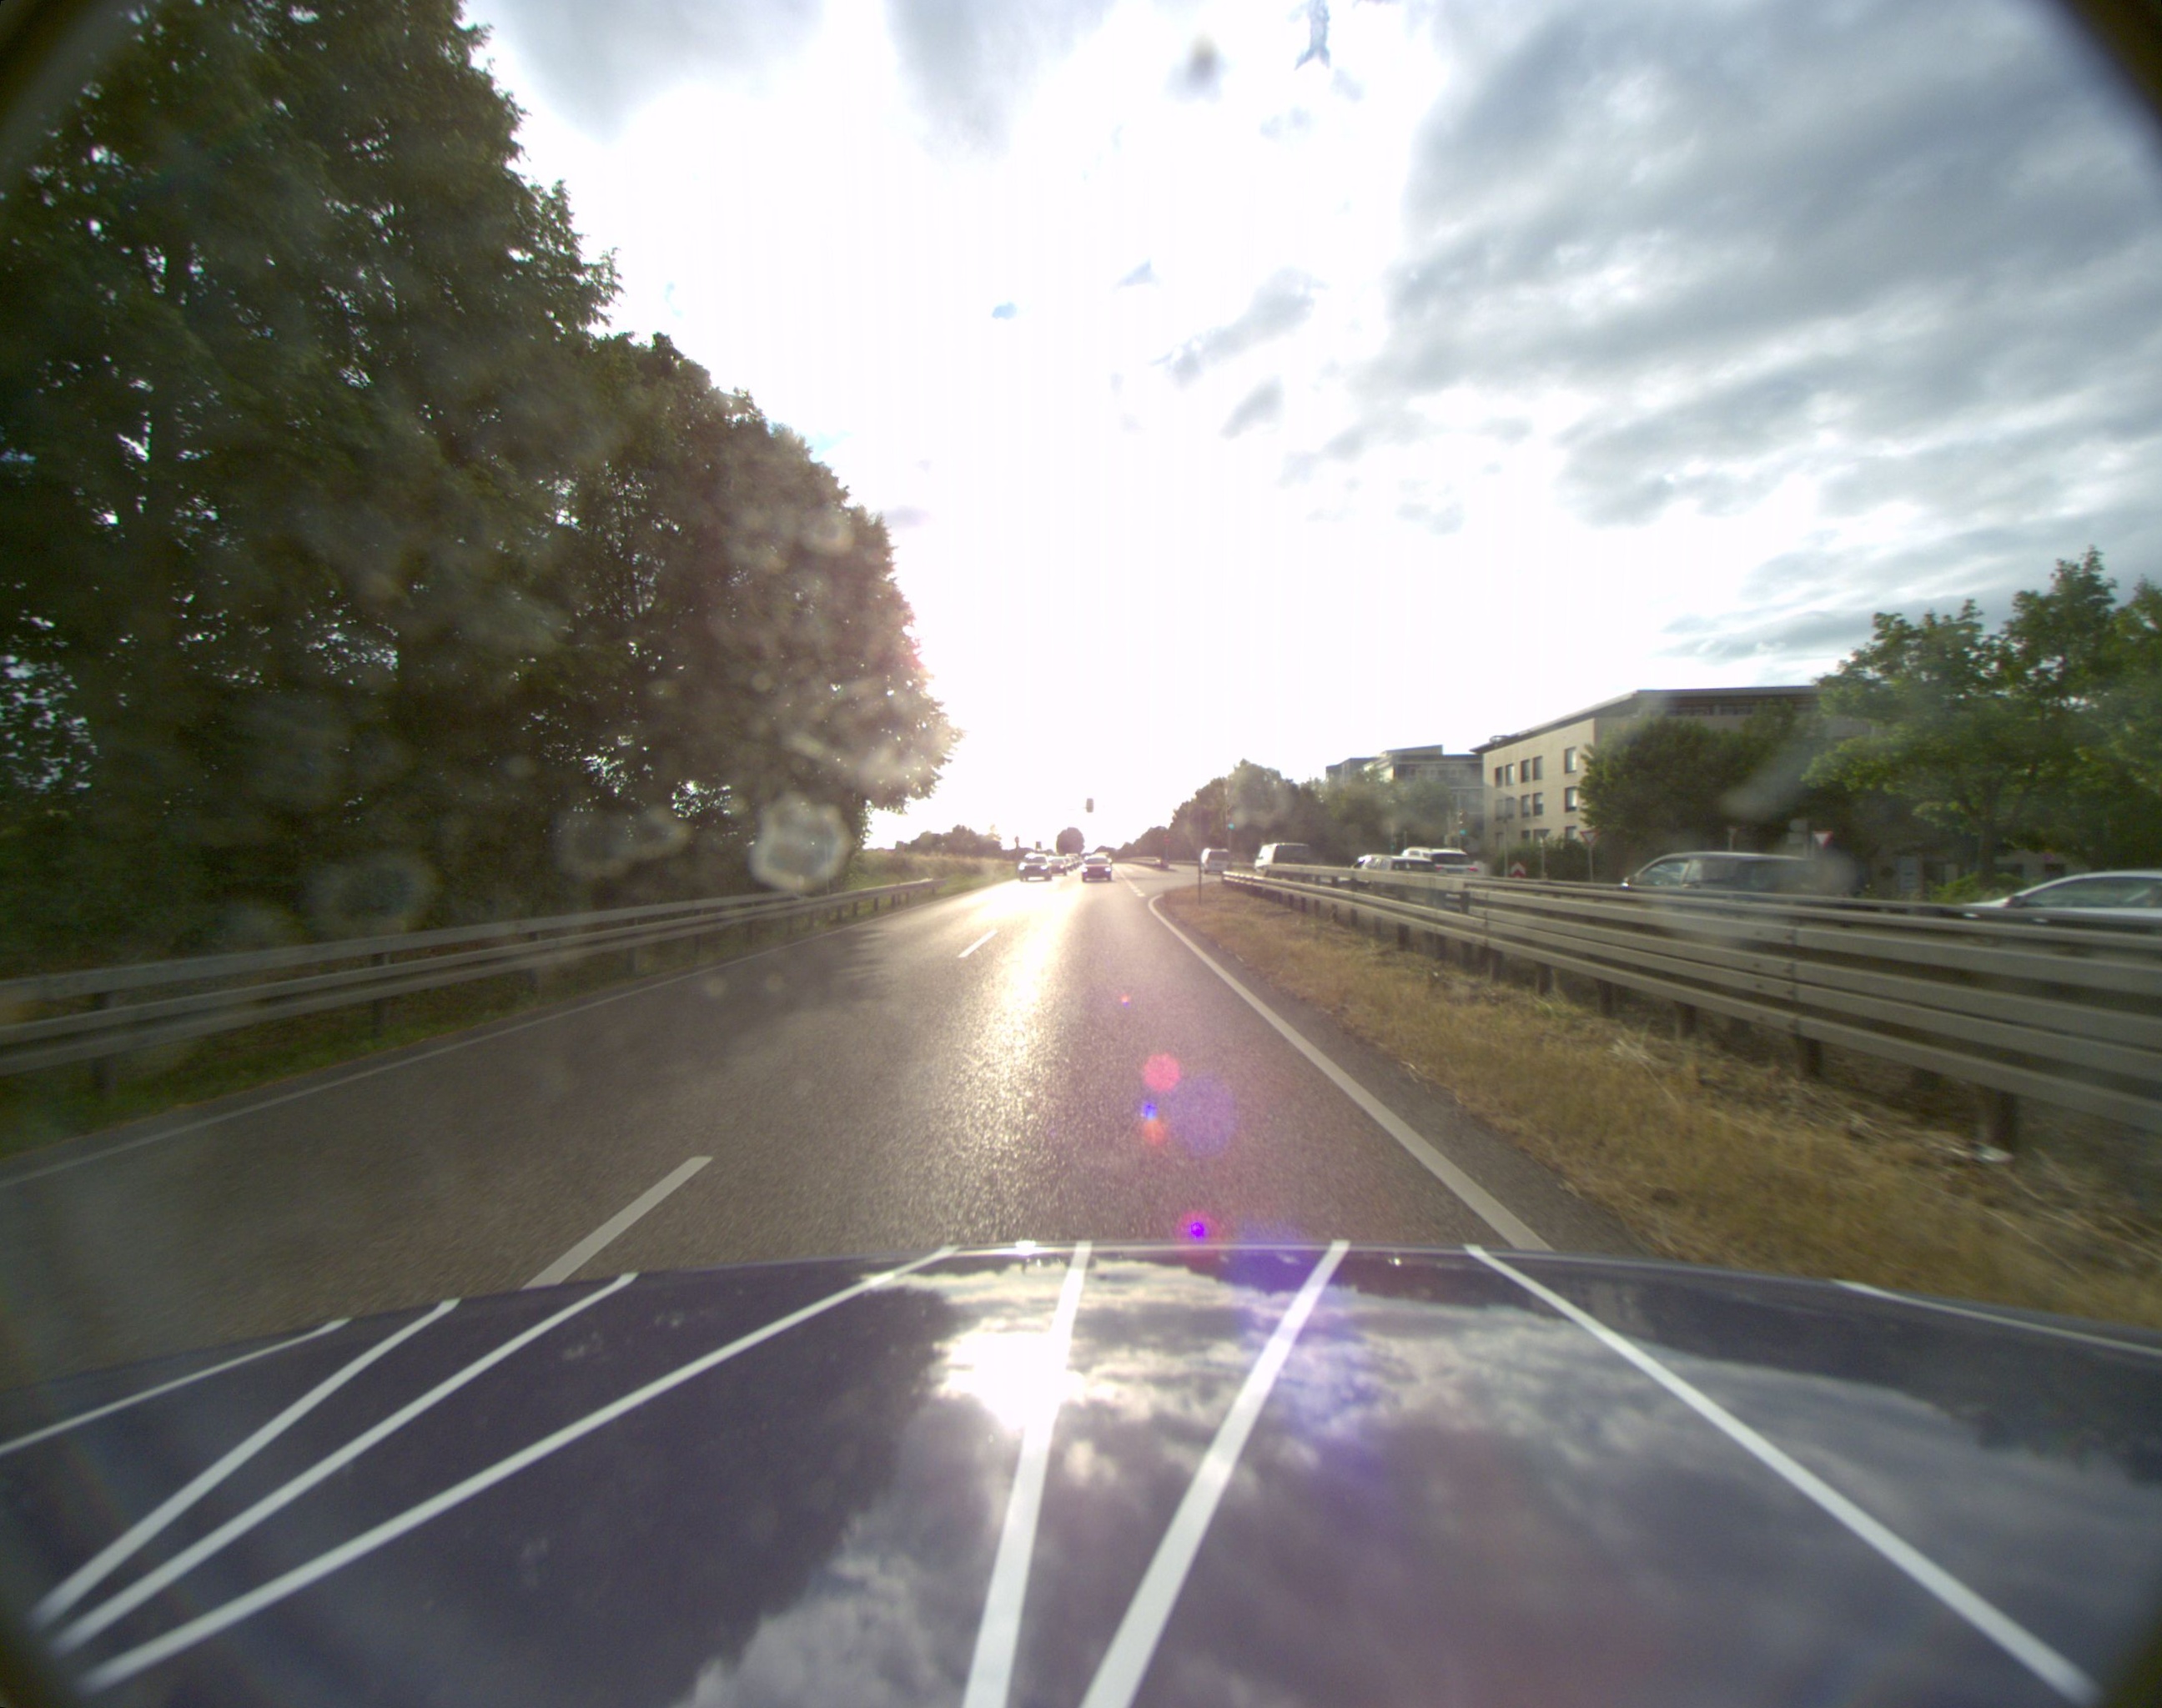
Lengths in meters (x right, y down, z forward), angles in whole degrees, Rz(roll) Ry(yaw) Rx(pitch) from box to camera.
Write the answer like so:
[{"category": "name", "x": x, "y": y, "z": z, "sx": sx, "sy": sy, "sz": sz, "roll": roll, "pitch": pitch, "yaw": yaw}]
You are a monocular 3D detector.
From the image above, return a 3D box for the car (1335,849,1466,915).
[{"category": "car", "x": 8.567, "y": 0.664, "z": 20.845, "sx": 1.717, "sy": 1.580, "sz": 4.554, "roll": -1, "pitch": 0, "yaw": 1}]

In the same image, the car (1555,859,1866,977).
[{"category": "car", "x": 8.623, "y": 0.782, "z": 10.836, "sx": 1.560, "sy": 1.352, "sz": 3.463, "roll": -2, "pitch": 0, "yaw": 1}]

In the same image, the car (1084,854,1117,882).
[{"category": "car", "x": 1.150, "y": 0.769, "z": 43.088, "sx": 1.723, "sy": 1.467, "sz": 3.729, "roll": 1, "pitch": 0, "yaw": 3}]

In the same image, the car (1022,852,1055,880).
[{"category": "car", "x": -2.744, "y": 0.742, "z": 49.551, "sx": 1.723, "sy": 1.658, "sz": 4.419, "roll": -2, "pitch": 0, "yaw": 1}]

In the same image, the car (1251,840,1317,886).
[{"category": "car", "x": 9.458, "y": 0.376, "z": 35.824, "sx": 1.903, "sy": 1.906, "sz": 5.051, "roll": 3, "pitch": 1, "yaw": 2}]

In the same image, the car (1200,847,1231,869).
[{"category": "car", "x": 12.257, "y": 0.326, "z": 69.485, "sx": 1.939, "sy": 1.978, "sz": 5.091, "roll": 0, "pitch": 1, "yaw": 1}]

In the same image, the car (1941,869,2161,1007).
[{"category": "car", "x": 11.744, "y": 0.886, "z": 8.066, "sx": 1.433, "sy": 1.345, "sz": 3.309, "roll": 0, "pitch": 1, "yaw": -1}]

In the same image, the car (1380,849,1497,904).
[{"category": "car", "x": 12.738, "y": 0.730, "z": 27.457, "sx": 2.039, "sy": 1.739, "sz": 4.845, "roll": 1, "pitch": 0, "yaw": 2}]

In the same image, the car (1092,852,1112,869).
[{"category": "car", "x": 1.932, "y": 0.576, "z": 70.136, "sx": 1.758, "sy": 1.543, "sz": 4.000, "roll": -1, "pitch": 0, "yaw": 1}]

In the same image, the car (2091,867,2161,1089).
[{"category": "car", "x": 8.037, "y": 0.826, "z": 3.543, "sx": 1.722, "sy": 1.458, "sz": 3.734, "roll": -1, "pitch": 0, "yaw": 1}]

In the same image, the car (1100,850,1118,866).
[{"category": "car", "x": 2.972, "y": 0.389, "z": 80.599, "sx": 1.786, "sy": 1.624, "sz": 3.866, "roll": -1, "pitch": 0, "yaw": 3}]

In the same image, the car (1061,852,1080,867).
[{"category": "car", "x": -1.043, "y": 0.573, "z": 76.978, "sx": 1.723, "sy": 1.467, "sz": 3.866, "roll": -2, "pitch": 0, "yaw": 1}]

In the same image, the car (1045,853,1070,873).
[{"category": "car", "x": -1.845, "y": 0.706, "z": 60.972, "sx": 1.668, "sy": 1.467, "sz": 3.866, "roll": -2, "pitch": 0, "yaw": 3}]

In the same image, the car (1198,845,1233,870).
[{"category": "car", "x": 10.489, "y": 0.238, "z": 59.609, "sx": 1.939, "sy": 1.861, "sz": 5.347, "roll": 0, "pitch": 1, "yaw": 1}]

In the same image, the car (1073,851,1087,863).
[{"category": "car", "x": -0.118, "y": 0.500, "z": 121.148, "sx": 1.998, "sy": 1.740, "sz": 4.000, "roll": 3, "pitch": 1, "yaw": 2}]

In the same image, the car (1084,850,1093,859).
[{"category": "car", "x": 1.694, "y": 0.038, "z": 174.473, "sx": 1.998, "sy": 2.002, "sz": 4.000, "roll": -2, "pitch": 1, "yaw": 0}]
